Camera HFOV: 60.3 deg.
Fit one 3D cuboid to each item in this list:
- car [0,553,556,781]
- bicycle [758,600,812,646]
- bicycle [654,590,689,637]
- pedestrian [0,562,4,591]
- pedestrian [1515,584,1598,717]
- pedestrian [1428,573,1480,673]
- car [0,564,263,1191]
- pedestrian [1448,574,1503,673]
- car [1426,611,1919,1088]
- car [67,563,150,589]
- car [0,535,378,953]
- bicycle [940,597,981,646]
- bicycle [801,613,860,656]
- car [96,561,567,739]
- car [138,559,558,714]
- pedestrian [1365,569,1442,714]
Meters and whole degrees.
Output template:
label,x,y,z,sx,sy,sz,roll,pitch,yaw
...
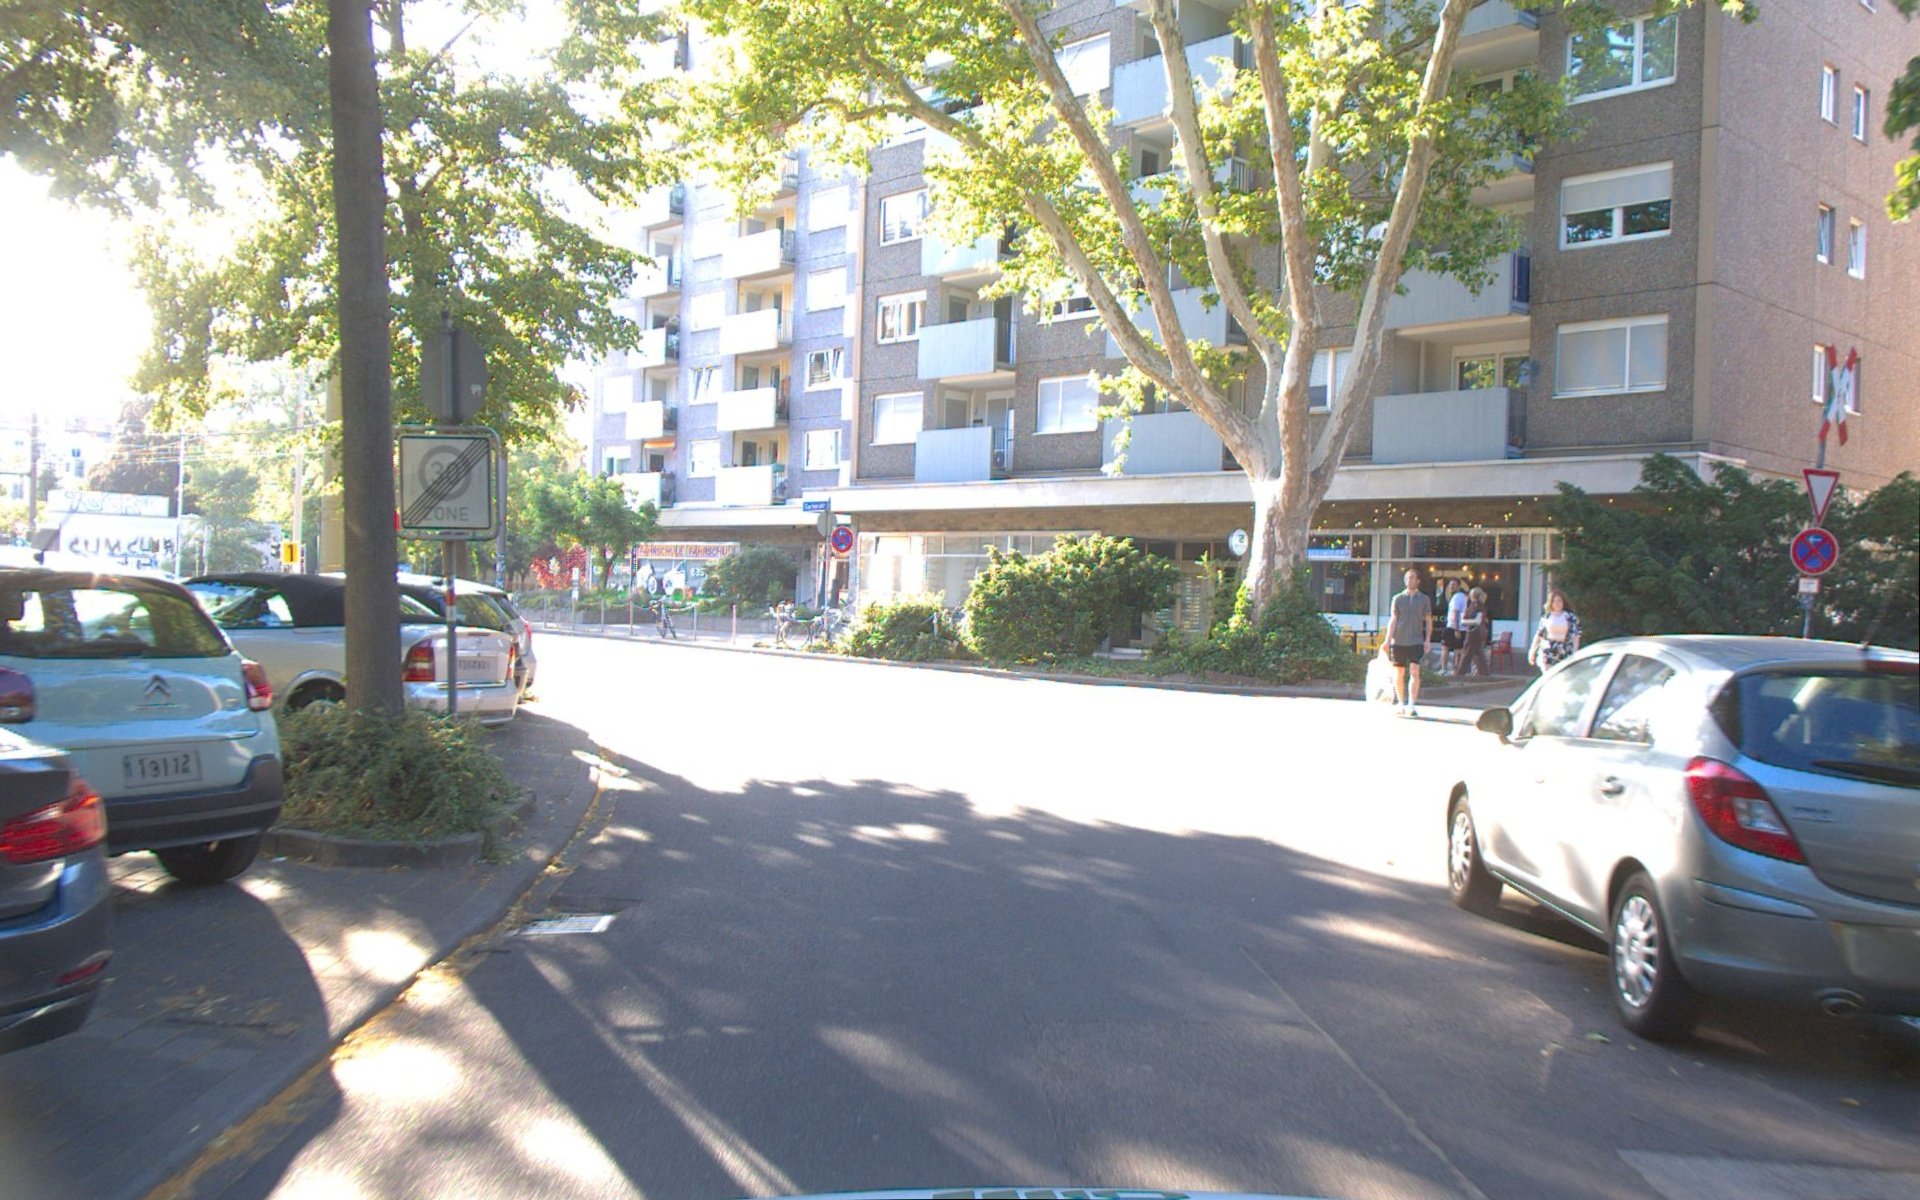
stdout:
label,x,y,z,sx,sy,sz,roll,pitch,yaw
car,-5.482,0.484,13.306,3.889,1.388,1.776,4,0,14
bicycle,-4.189,0.548,39.462,0.630,1.040,2.071,1,0,-25
bicycle,-7.983,0.348,45.685,0.629,1.247,2.077,1,0,-19
pedestrian,-57.200,-1.410,97.853,0.920,1.721,0.766,1,0,-40
pedestrian,7.521,0.625,20.883,0.795,1.636,0.717,1,0,3
pedestrian,9.052,0.411,30.293,0.680,1.804,0.627,1,0,-40
car,-4.204,0.526,4.559,4.104,1.463,1.831,4,0,24
pedestrian,9.105,0.409,29.203,0.680,1.721,0.635,1,0,-40
car,3.401,0.860,7.325,1.646,1.471,3.873,4,0,2
car,-53.364,-1.472,103.731,4.411,1.513,1.769,1,0,-21
car,-4.853,0.439,7.686,3.797,1.519,1.830,4,0,25
bicycle,0.006,0.470,36.836,0.345,1.056,1.039,1,0,-36
bicycle,-2.936,0.765,37.410,0.538,0.920,1.714,1,0,-35
car,-6.105,0.454,16.212,3.942,1.430,1.776,3,0,13
car,-6.936,0.385,18.845,4.190,1.454,1.775,3,0,15
pedestrian,5.692,0.519,21.263,0.795,1.812,0.717,1,0,3
